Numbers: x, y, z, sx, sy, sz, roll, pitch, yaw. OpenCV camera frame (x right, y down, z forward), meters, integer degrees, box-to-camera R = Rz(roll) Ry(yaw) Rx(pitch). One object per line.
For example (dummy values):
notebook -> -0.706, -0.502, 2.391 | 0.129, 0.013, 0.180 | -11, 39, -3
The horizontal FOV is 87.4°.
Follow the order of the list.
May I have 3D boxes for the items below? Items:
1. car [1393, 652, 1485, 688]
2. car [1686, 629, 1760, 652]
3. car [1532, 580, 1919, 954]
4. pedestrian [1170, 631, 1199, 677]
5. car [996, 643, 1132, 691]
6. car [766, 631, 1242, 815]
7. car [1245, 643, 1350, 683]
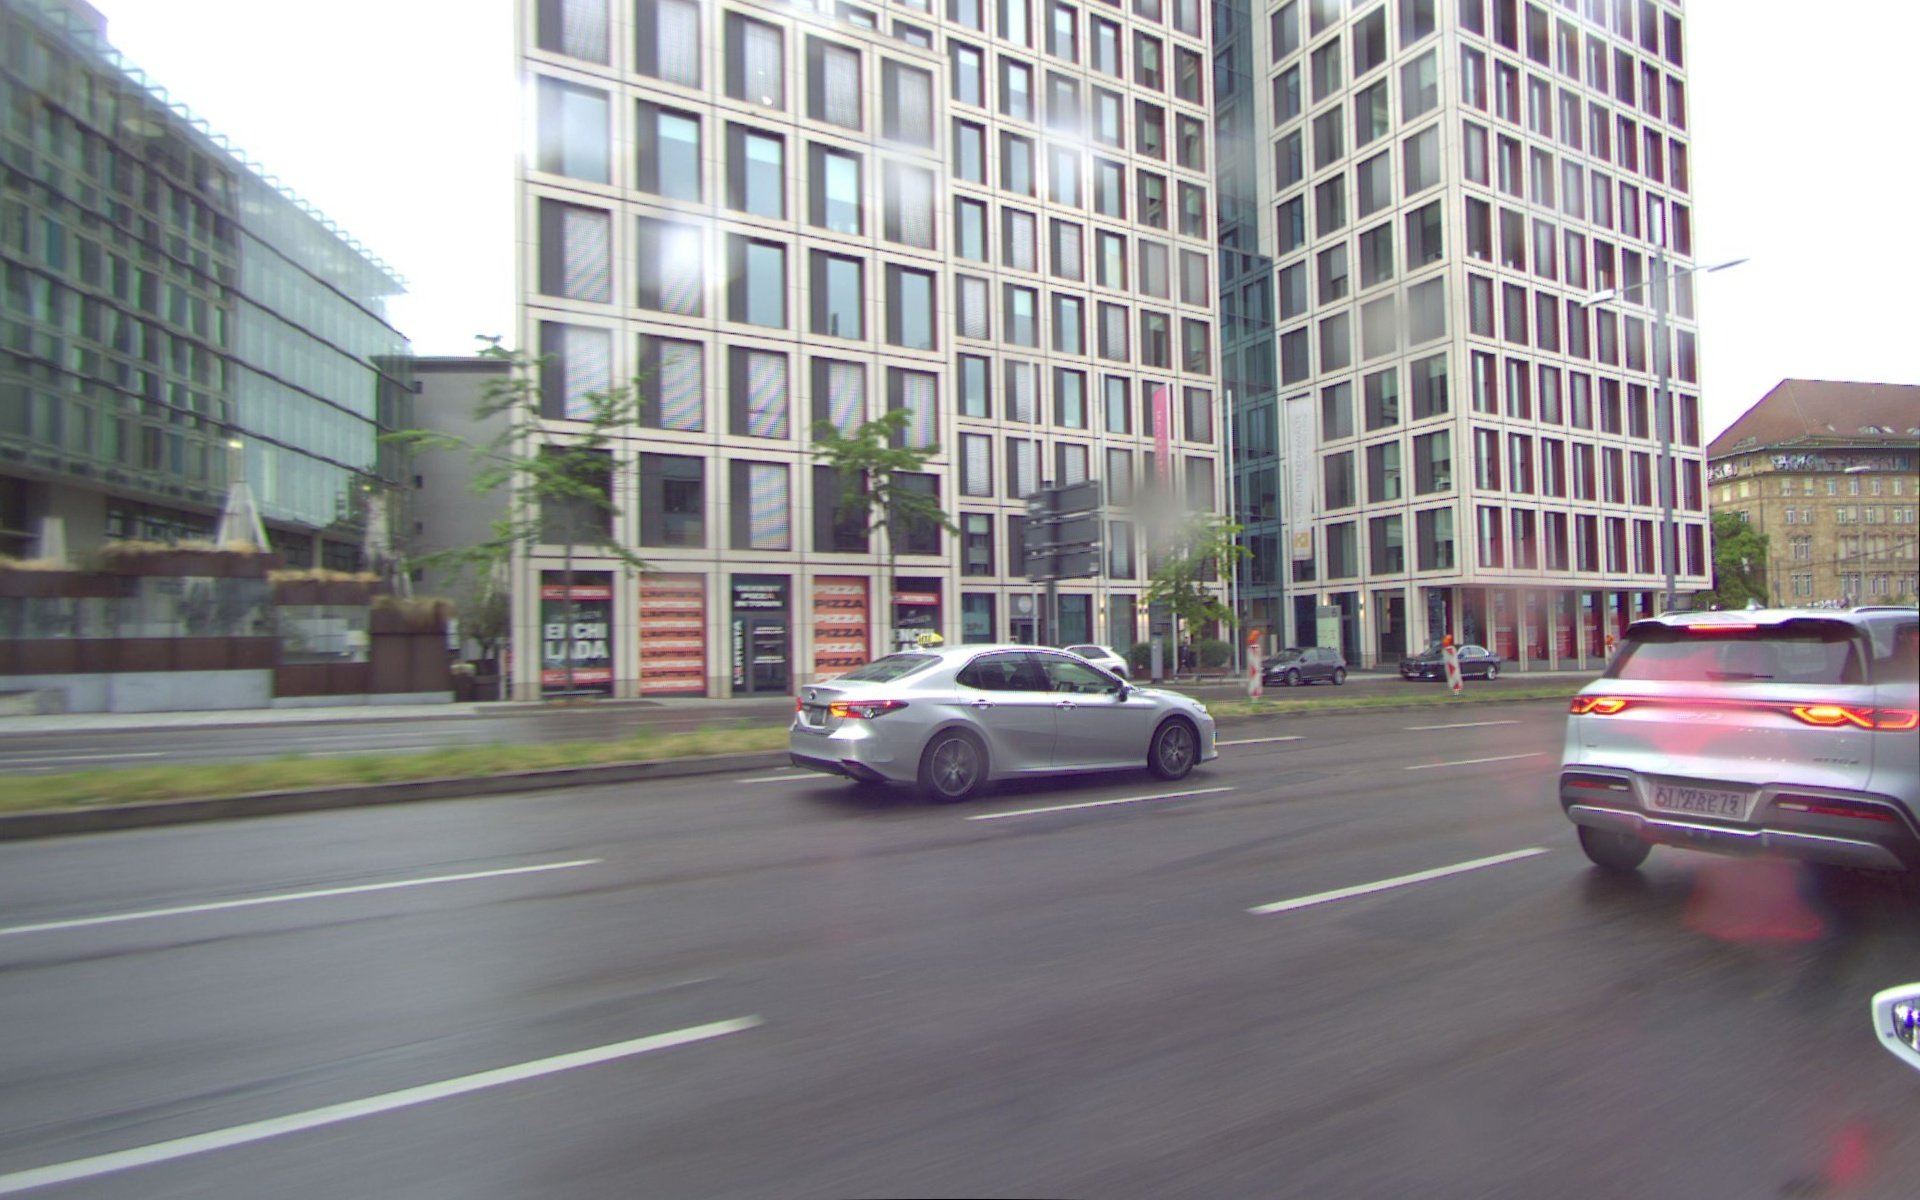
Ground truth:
car -> 20.641, 2.995, 43.272 | 3.910, 1.442, 1.690 | 1, -4, -31
car -> 57.991, 3.100, 76.387 | 4.335, 1.684, 1.988 | -2, -3, 44
car -> 5.636, 0.820, 6.341 | 4.124, 1.683, 1.798 | 1, -2, -32
pedestrian -> 8.762, 2.093, 39.238 | 0.957, 1.757, 0.608 | 1, -2, -34
car -> 3.452, 2.202, 33.149 | 4.324, 1.442, 1.690 | 1, -4, -31
car -> 0.549, 1.113, 10.464 | 4.744, 1.541, 1.822 | 1, -2, -30
car -> 13.041, 2.414, 38.739 | 3.910, 1.442, 1.690 | 1, -4, -31
